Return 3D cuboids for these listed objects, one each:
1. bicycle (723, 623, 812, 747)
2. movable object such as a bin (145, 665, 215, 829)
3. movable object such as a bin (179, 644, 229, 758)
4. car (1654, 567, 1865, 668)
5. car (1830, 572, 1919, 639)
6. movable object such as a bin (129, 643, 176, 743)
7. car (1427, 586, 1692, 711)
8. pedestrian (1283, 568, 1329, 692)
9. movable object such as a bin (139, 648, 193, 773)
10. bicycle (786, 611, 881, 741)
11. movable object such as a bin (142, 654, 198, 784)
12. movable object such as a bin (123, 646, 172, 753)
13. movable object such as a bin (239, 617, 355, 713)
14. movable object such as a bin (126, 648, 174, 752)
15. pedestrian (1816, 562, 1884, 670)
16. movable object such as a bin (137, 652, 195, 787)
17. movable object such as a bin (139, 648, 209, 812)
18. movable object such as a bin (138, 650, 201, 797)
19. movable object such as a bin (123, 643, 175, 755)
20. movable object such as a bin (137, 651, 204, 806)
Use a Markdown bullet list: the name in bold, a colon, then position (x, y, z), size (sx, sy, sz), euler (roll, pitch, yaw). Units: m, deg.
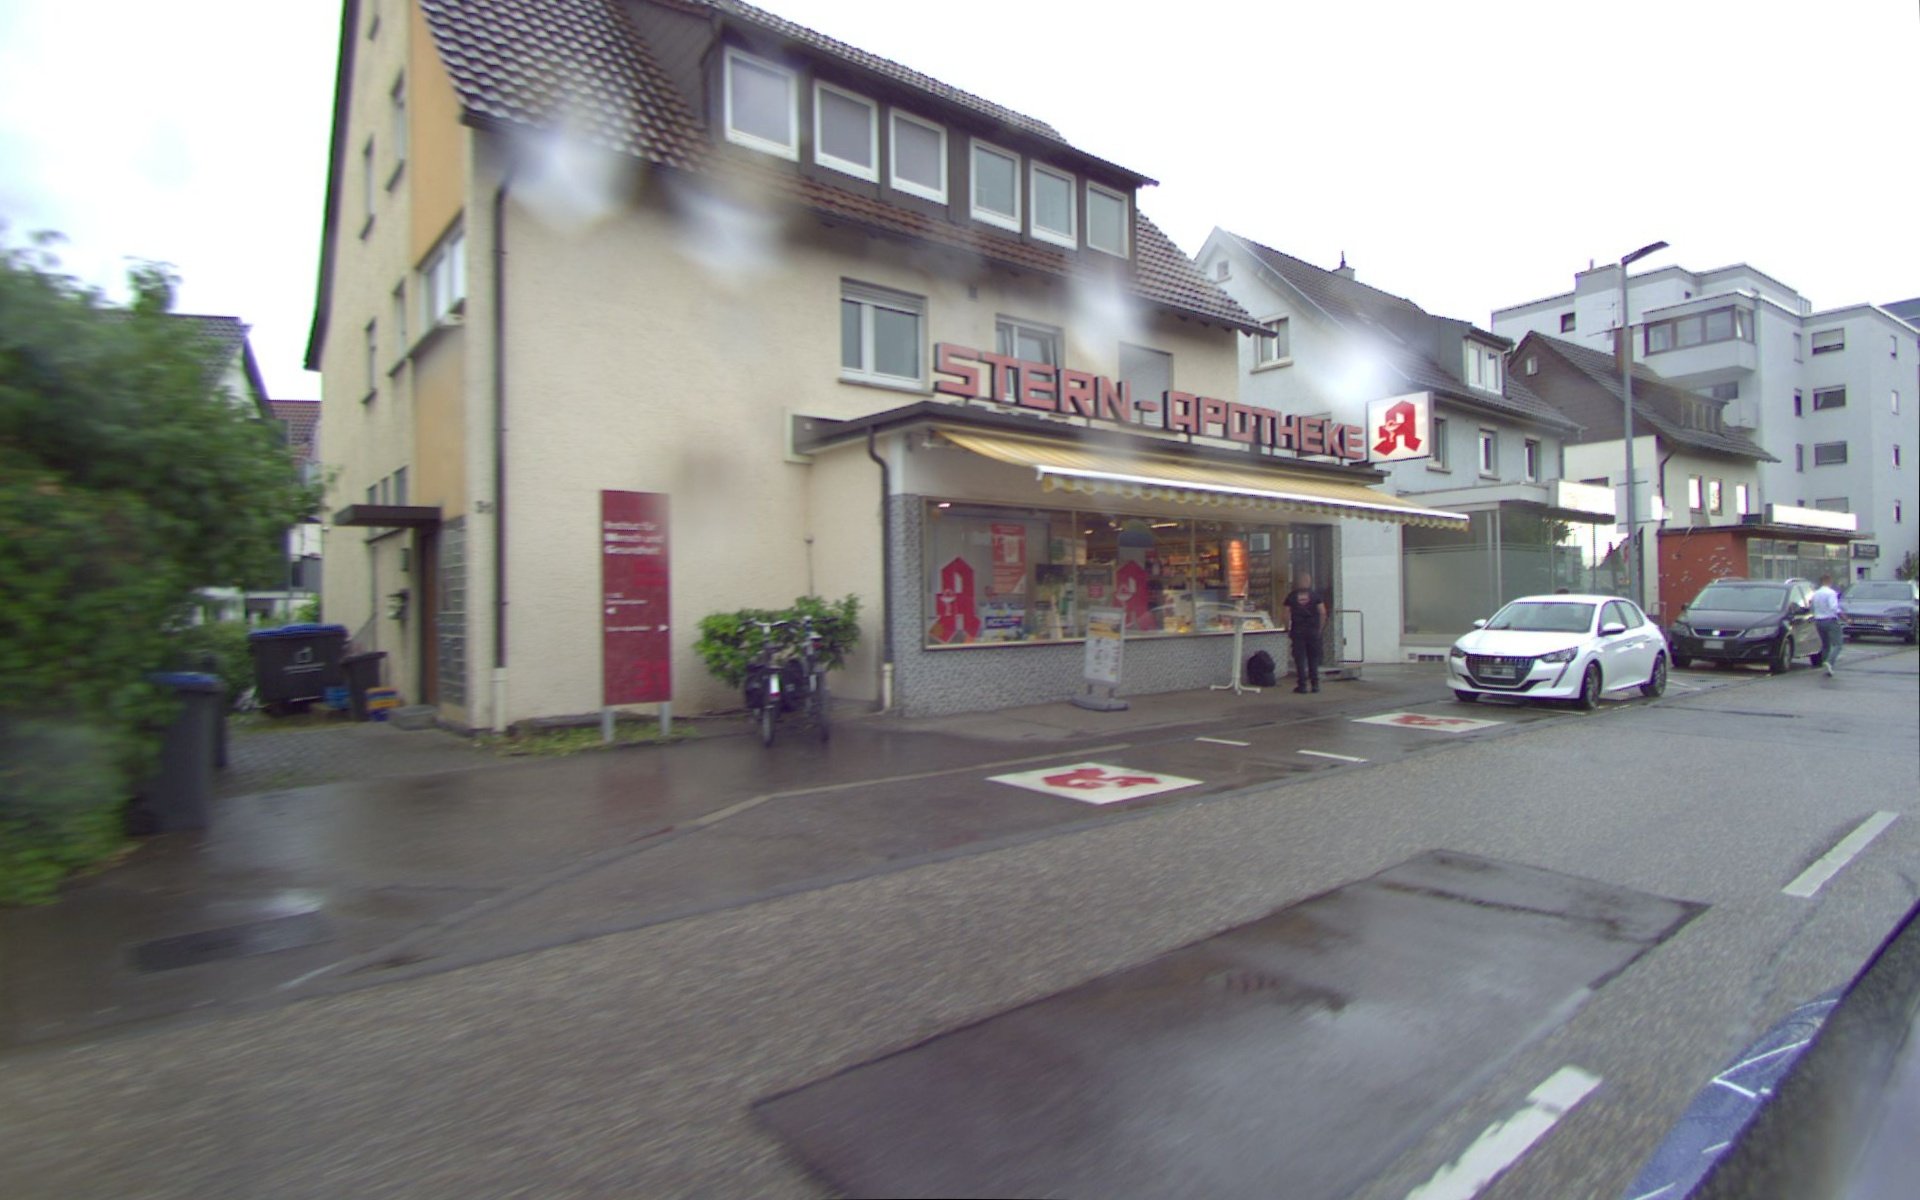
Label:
- **bicycle**: position (-1.910, 0.778, 9.878), size (0.609, 0.944, 1.656), euler (0, 4, -19)
- **movable object such as a bin**: position (-4.769, 0.880, 6.187), size (0.322, 0.928, 0.367), euler (0, 0, -40)
- **movable object such as a bin**: position (-6.988, 0.920, 9.358), size (0.349, 0.999, 0.367), euler (0, 0, -41)
- **car**: position (15.813, 0.238, 19.929), size (4.871, 1.716, 2.042), euler (-2, 3, -36)
- **car**: position (25.903, 0.083, 27.960), size (4.705, 1.663, 1.880), euler (-2, 3, -37)
- **movable object such as a bin**: position (-8.958, 1.020, 11.224), size (0.390, 1.050, 0.421), euler (0, 0, -41)
- **car**: position (8.431, 0.548, 14.117), size (4.127, 1.466, 1.820), euler (-1, 1, -38)
- **pedestrian**: position (4.842, 0.410, 14.180), size (0.543, 1.700, 0.514), euler (-1, -1, 15)
- **movable object such as a bin**: position (-6.721, 0.923, 8.568), size (0.349, 0.999, 0.367), euler (0, 0, -41)
- **bicycle**: position (-1.301, 0.708, 10.119), size (0.609, 1.060, 1.656), euler (0, 4, -19)
- **movable object such as a bin**: position (-6.478, 0.959, 8.298), size (0.349, 0.999, 0.367), euler (0, 0, -41)
- **movable object such as a bin**: position (-8.387, 1.013, 10.447), size (0.390, 1.050, 0.421), euler (0, 0, -41)
- **movable object such as a bin**: position (-10.022, 0.973, 15.299), size (1.367, 1.333, 0.875), euler (-1, -4, -40)
- **movable object such as a bin**: position (-8.710, 1.060, 10.884), size (0.390, 1.050, 0.421), euler (0, 0, -41)
- **pedestrian**: position (16.105, 0.280, 18.328), size (0.635, 1.915, 0.624), euler (-1, -1, -2)
- **movable object such as a bin**: position (-6.242, 0.923, 7.958), size (0.349, 0.999, 0.367), euler (0, 0, -41)
- **movable object such as a bin**: position (-5.117, 0.826, 6.588), size (0.349, 0.999, 0.367), euler (0, 0, -41)
- **movable object such as a bin**: position (-5.743, 0.877, 7.354), size (0.349, 0.999, 0.367), euler (0, 0, -41)
- **movable object such as a bin**: position (-8.054, 0.966, 10.047), size (0.390, 1.050, 0.421), euler (0, 0, -41)
- **movable object such as a bin**: position (-5.431, 0.865, 6.960), size (0.349, 0.999, 0.367), euler (0, 0, -41)
